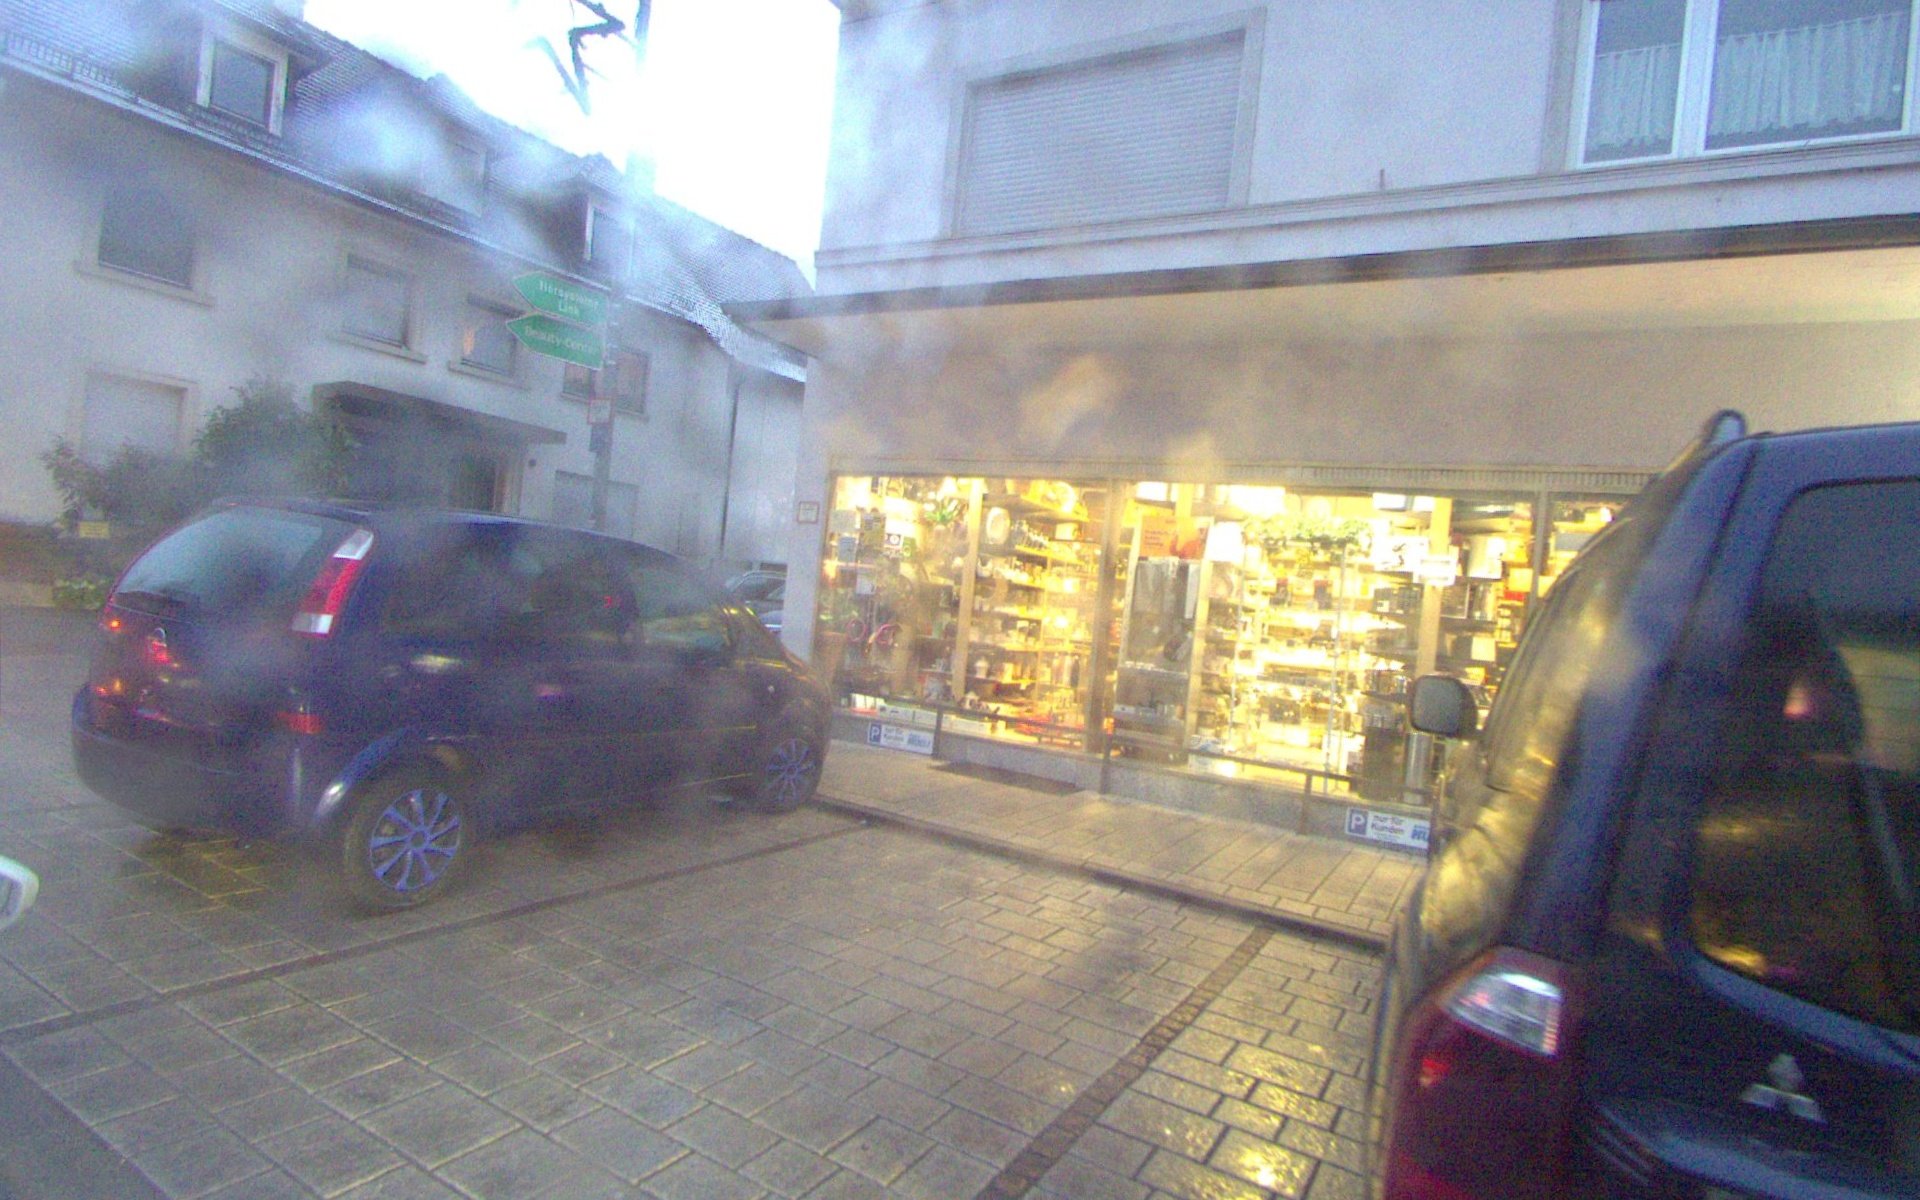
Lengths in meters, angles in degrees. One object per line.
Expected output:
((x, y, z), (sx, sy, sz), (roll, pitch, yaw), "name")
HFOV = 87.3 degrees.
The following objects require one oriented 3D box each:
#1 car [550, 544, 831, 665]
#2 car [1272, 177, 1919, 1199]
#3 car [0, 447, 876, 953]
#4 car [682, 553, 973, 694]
((-4.139, 0.145, 16.057), (1.905, 1.543, 3.989), (6, 0, 33), "car")
((2.126, 0.807, 2.434), (1.911, 1.798, 4.612), (7, 1, 27), "car")
((-2.228, 0.372, 5.383), (1.652, 1.599, 3.877), (7, 0, 26), "car")
((-1.726, 0.373, 14.415), (1.967, 1.590, 3.991), (6, 0, 31), "car")
